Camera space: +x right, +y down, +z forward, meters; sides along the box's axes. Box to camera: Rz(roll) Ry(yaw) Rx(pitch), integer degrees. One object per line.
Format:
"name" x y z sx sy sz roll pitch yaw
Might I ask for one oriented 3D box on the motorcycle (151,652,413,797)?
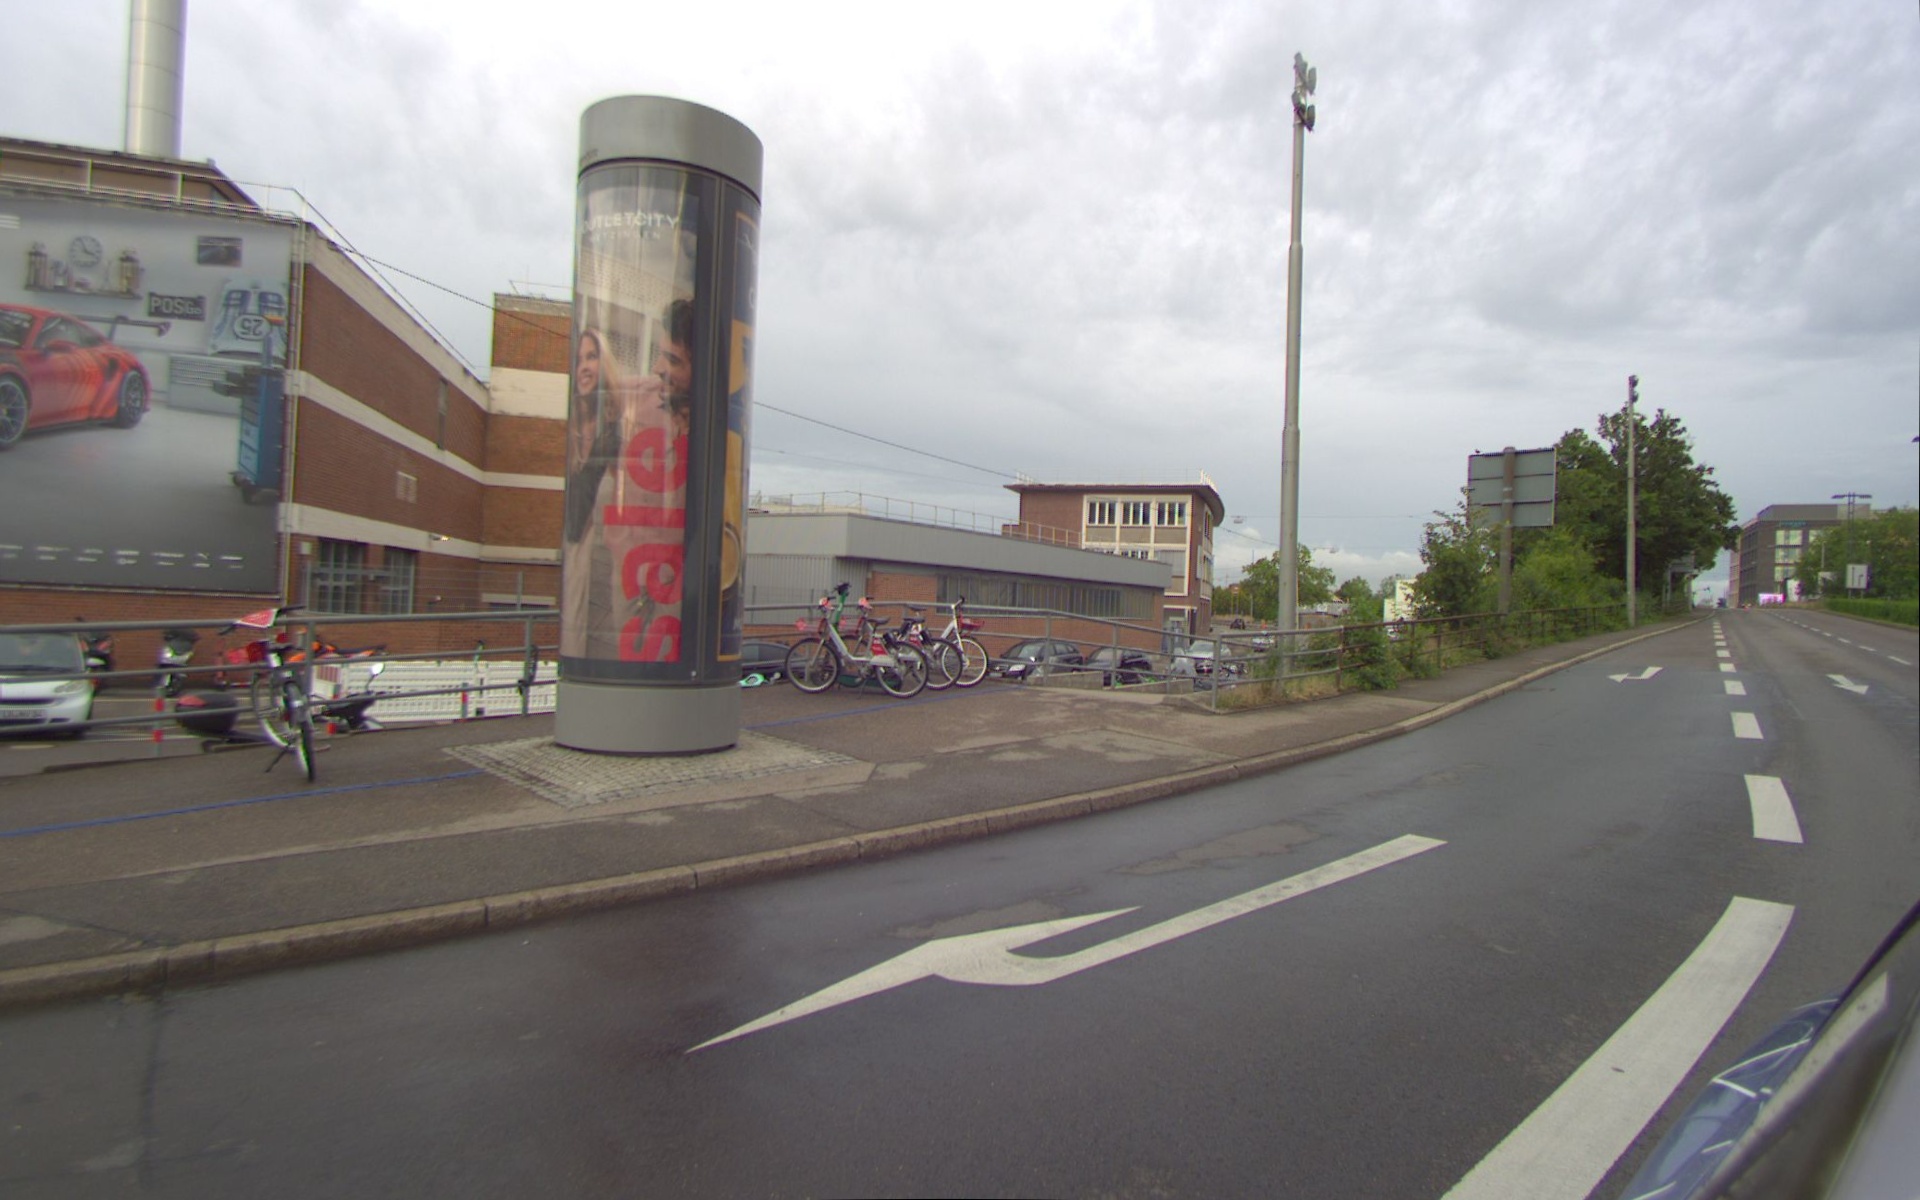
"motorcycle" -5.728 0.998 8.639 0.696 1.002 1.726 1 0 38

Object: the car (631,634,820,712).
"car" -5.405 1.662 23.830 1.694 1.630 4.204 -1 -3 37

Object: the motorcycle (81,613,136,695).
"motorcycle" -16.112 0.991 19.189 0.675 1.325 2.022 3 2 -38

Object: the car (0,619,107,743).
"car" -13.842 1.129 15.058 1.663 1.500 3.557 4 -1 -40

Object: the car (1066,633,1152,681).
"car" 5.784 2.140 38.942 1.694 1.574 3.805 1 1 37

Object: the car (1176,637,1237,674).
"car" 12.379 2.741 50.676 1.692 1.574 3.809 1 1 35

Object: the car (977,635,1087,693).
"car" 2.495 2.091 34.132 1.629 1.652 4.371 1 1 37

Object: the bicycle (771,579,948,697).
"bicycle" -1.132 0.410 11.492 1.901 1.239 0.598 2 1 10

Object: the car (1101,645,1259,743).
"car" 4.512 1.796 20.409 1.694 1.574 3.805 1 1 37

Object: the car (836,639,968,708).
"car" -1.599 2.049 29.045 1.694 1.648 3.878 1 1 37

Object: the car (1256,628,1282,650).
"car" 23.378 2.931 76.486 1.648 1.413 3.971 0 0 21

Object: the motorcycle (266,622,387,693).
"motorcycle" -12.994 1.183 20.837 1.943 1.325 0.932 3 1 -24

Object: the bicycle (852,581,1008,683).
"bicycle" -0.393 0.375 12.954 1.910 1.192 0.595 2 1 23

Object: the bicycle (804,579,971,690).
"bicycle" -0.863 0.392 12.138 1.900 1.239 0.598 1 1 8

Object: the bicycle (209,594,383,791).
"bicycle" -4.759 0.583 7.206 1.799 1.176 0.583 3 2 41

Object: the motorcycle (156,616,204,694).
"motorcycle" -15.261 1.050 19.832 0.562 1.325 1.873 3 2 -34
